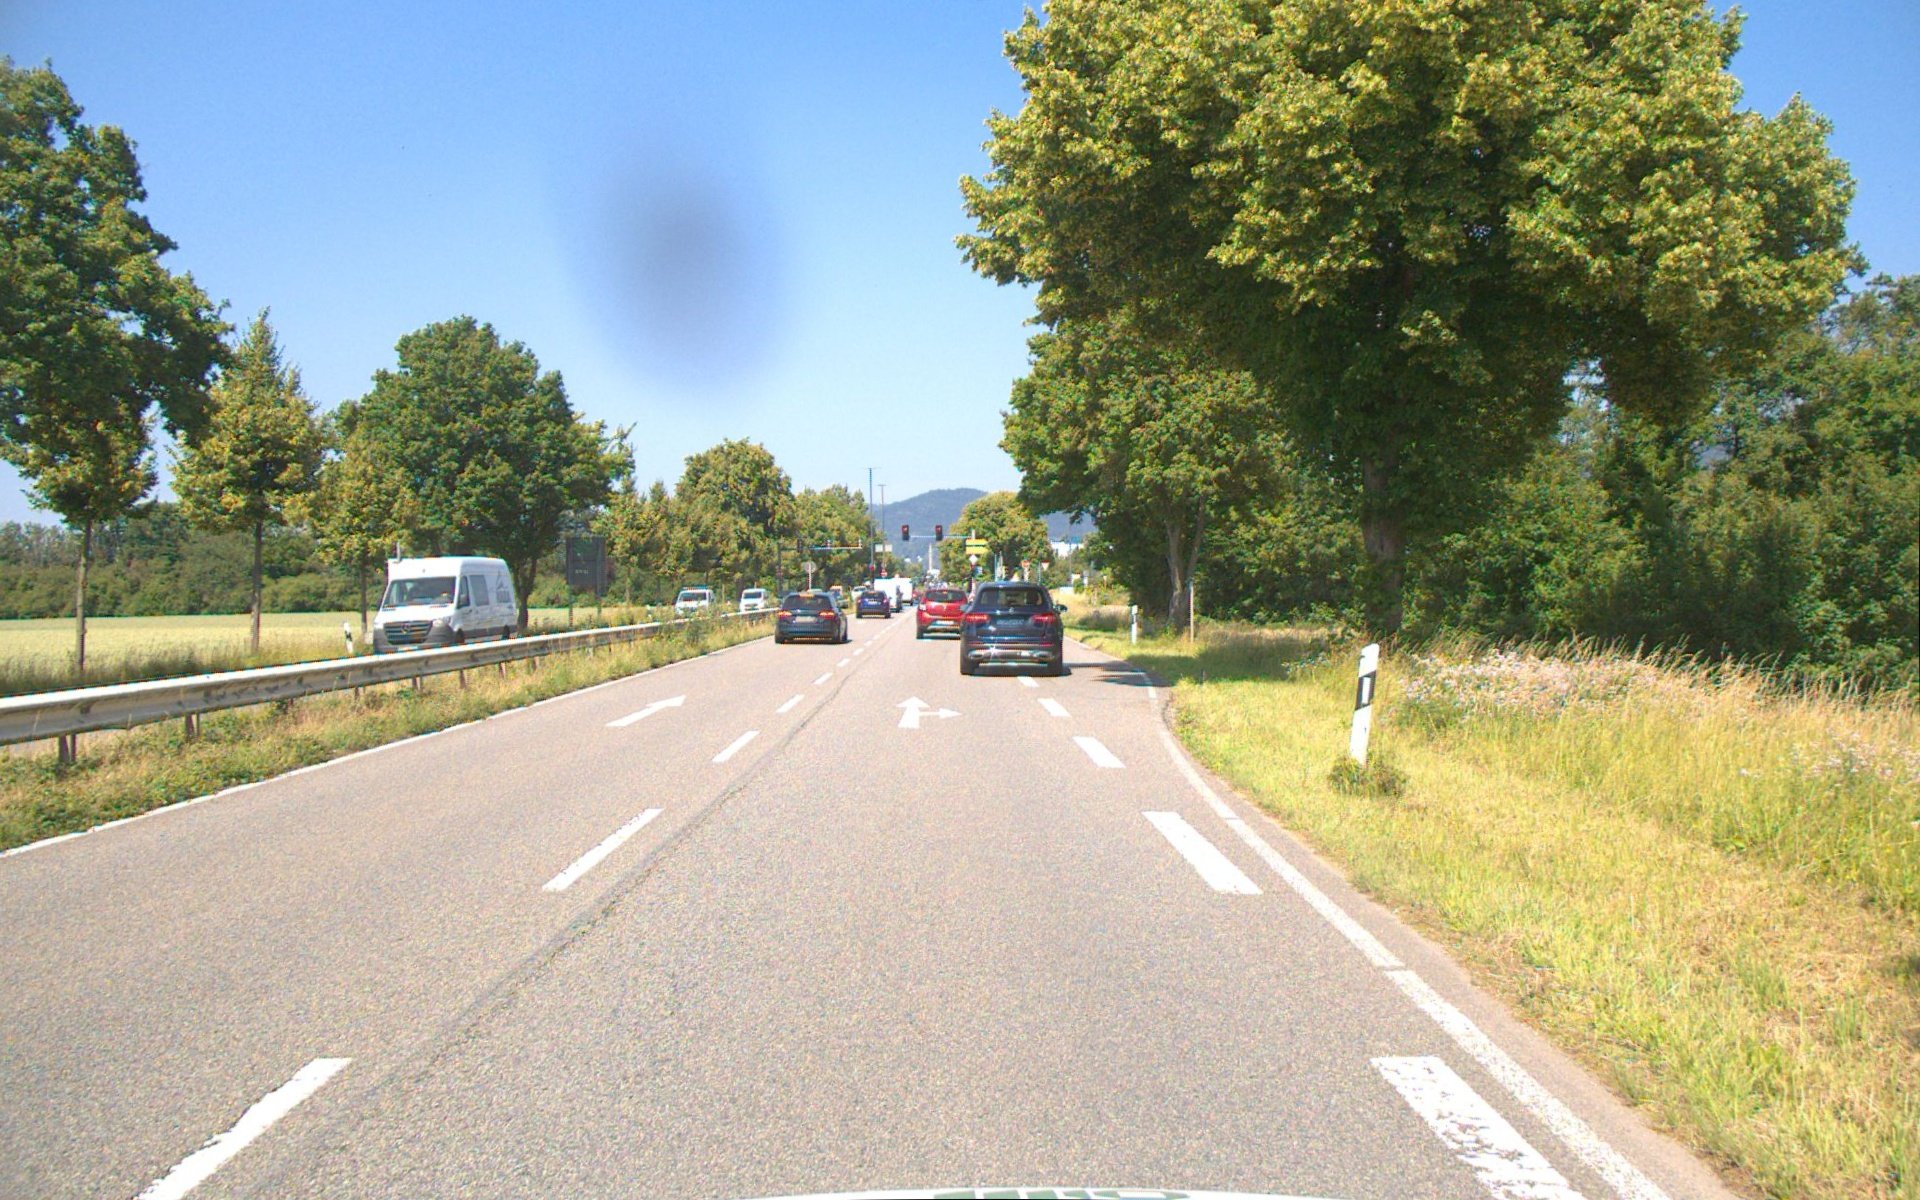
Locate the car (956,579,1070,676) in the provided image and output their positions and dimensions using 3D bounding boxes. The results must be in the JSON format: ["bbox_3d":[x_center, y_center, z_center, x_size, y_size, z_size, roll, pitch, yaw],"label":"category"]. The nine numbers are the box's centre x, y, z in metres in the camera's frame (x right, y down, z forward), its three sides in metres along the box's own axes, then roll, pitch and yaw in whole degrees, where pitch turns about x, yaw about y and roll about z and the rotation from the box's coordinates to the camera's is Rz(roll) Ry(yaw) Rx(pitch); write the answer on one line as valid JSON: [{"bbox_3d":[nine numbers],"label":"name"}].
[{"bbox_3d":[0.933,0.455,30.459,1.952,1.645,4.340,0,0,1],"label":"car"}]

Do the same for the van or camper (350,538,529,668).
[{"bbox_3d":[-13.165,0.047,42.453,2.337,3.000,7.090,-1,0,-1],"label":"van or camper"}]

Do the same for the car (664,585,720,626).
[{"bbox_3d":[-13.950,0.281,86.315,1.995,2.049,4.534,-1,0,2],"label":"car"}]

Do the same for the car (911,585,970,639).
[{"bbox_3d":[-0.570,0.350,51.093,1.713,1.603,3.677,0,0,1],"label":"car"}]

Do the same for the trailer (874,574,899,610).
[{"bbox_3d":[-4.697,-0.517,106.391,1.470,2.211,4.173,0,0,-1],"label":"trailer"}]

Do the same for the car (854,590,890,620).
[{"bbox_3d":[-4.563,0.242,86.220,1.682,1.490,4.029,-1,0,-1],"label":"car"}]

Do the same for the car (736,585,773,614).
[{"bbox_3d":[-15.022,-0.050,121.052,1.952,1.995,4.927,-1,0,1],"label":"car"}]

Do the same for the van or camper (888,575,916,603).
[{"bbox_3d":[-4.979,-0.966,142.147,2.134,2.343,4.827,-1,0,0],"label":"van or camper"}]

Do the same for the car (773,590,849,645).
[{"bbox_3d":[-4.094,0.447,45.976,1.705,1.404,4.454,-1,0,-1],"label":"car"}]

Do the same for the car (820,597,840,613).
[{"bbox_3d":[-14.428,0.546,184.086,1.953,1.691,4.479,-1,0,-1],"label":"car"}]

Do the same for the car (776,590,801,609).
[{"bbox_3d":[-15.901,-0.074,153.886,1.953,1.691,4.479,0,0,-1],"label":"car"}]

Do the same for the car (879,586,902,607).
[{"bbox_3d":[-5.532,-0.318,131.961,1.689,1.628,3.955,-1,0,0],"label":"car"}]
